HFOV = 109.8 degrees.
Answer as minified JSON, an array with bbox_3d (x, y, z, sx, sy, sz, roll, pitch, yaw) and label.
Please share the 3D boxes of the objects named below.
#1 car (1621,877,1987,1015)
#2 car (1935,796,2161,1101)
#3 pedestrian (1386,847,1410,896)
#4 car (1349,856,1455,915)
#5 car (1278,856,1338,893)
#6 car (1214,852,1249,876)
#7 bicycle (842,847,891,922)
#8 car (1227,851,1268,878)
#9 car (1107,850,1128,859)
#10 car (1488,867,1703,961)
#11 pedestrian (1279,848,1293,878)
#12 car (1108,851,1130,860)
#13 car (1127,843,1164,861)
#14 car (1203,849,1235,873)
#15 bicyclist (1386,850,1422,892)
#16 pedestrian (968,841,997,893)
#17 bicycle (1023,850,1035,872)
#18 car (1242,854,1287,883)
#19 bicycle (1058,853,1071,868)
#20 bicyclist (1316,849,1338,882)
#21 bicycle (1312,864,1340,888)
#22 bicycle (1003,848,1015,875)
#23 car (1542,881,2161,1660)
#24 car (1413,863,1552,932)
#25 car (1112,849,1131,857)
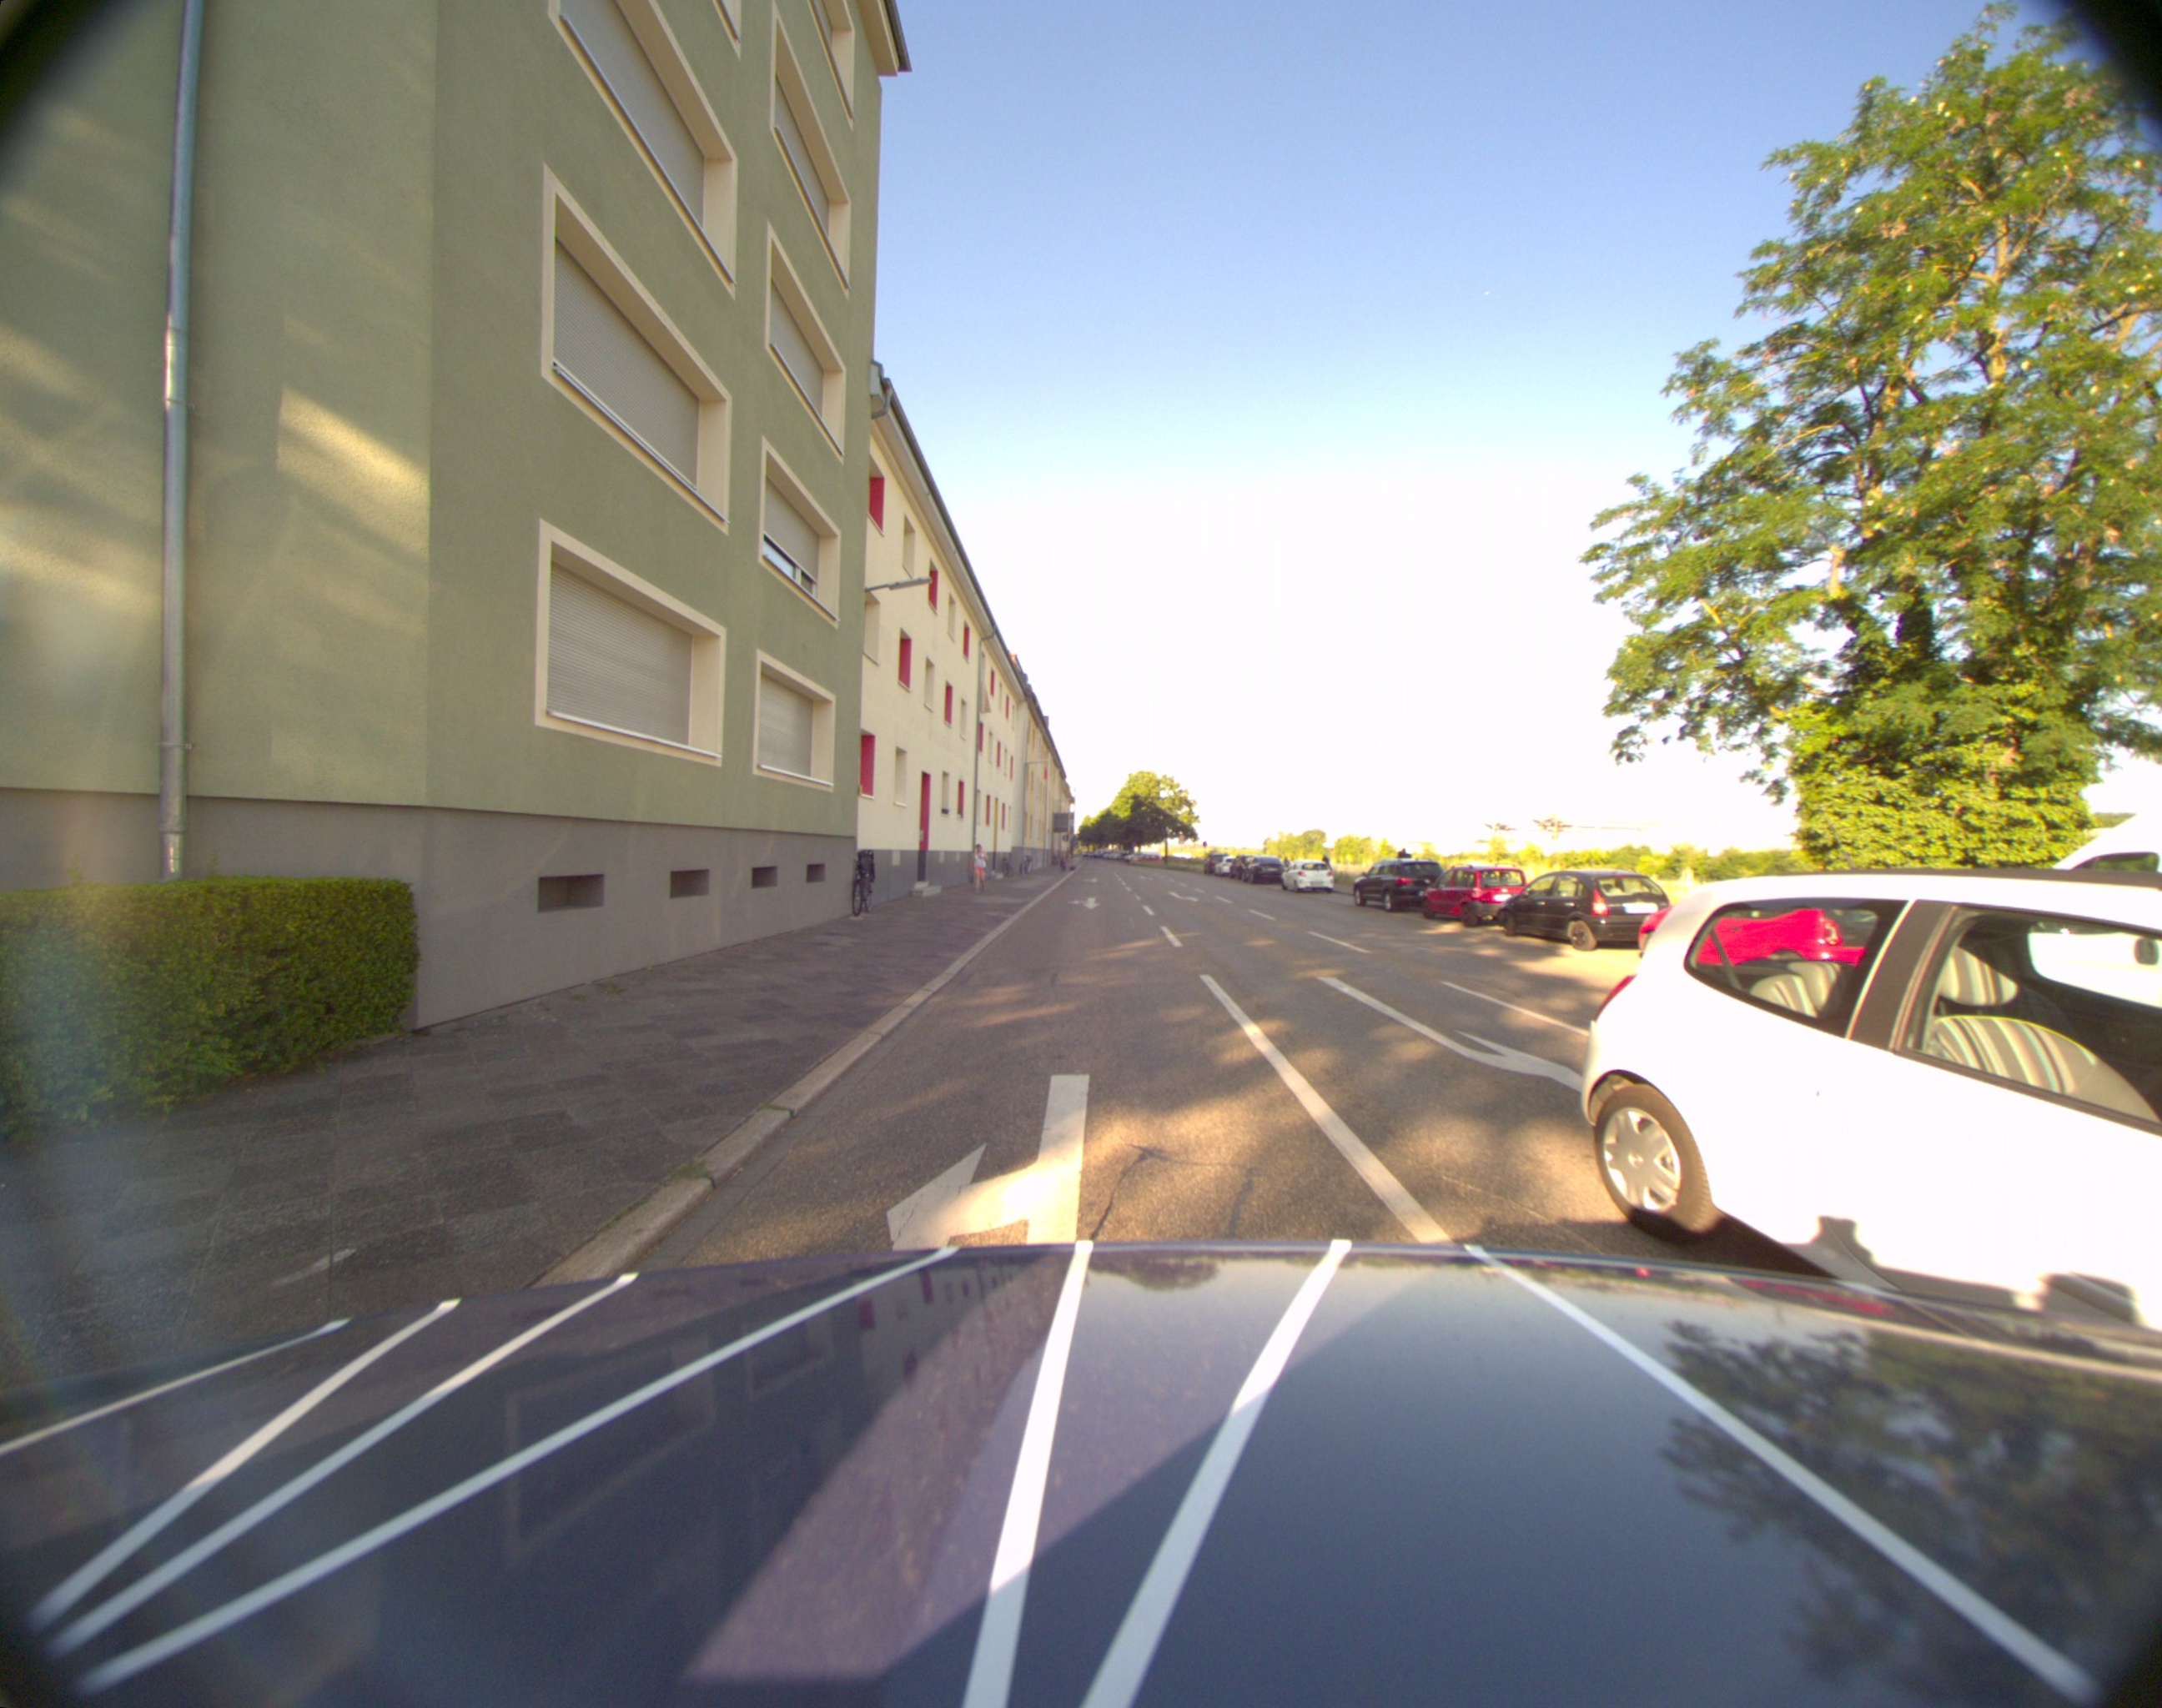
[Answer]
[{"bbox_3d":[10.068,1.173,11.051,1.745,1.478,3.694,2,1,0],"label":"car"},{"bbox_3d":[9.688,0.743,4.828,2.235,2.422,5.559,-1,1,-1],"label":"car"},{"bbox_3d":[13.124,0.725,31.457,0.615,2.002,0.730,2,1,-1],"label":"pedestrian"},{"bbox_3d":[10.142,0.943,24.357,1.664,1.649,4.005,2,1,0],"label":"car"},{"bbox_3d":[10.411,0.914,35.078,1.706,1.517,3.583,2,1,1],"label":"car"},{"bbox_3d":[10.854,0.699,55.105,1.823,1.565,4.220,2,1,2],"label":"car"},{"bbox_3d":[-4.309,0.572,15.379,0.517,1.404,1.873,2,1,-3],"label":"bicycle"},{"bbox_3d":[10.848,0.674,49.712,1.823,1.628,4.220,2,1,2],"label":"car"},{"bbox_3d":[7.418,0.182,155.325,3.997,1.708,2.000,2,1,-1],"label":"car"},{"bbox_3d":[10.170,1.099,15.420,1.745,1.521,3.816,2,1,0],"label":"car"},{"bbox_3d":[13.902,0.586,51.595,0.706,2.002,0.710,2,1,2],"label":"pedestrian"},{"bbox_3d":[7.486,0.241,149.742,3.997,1.708,2.000,2,1,-1],"label":"car"},{"bbox_3d":[9.520,-0.308,112.251,5.322,2.398,2.266,-2,1,0],"label":"car"},{"bbox_3d":[11.003,0.515,60.989,1.890,1.765,4.220,2,1,2],"label":"car"},{"bbox_3d":[12.553,0.655,29.544,0.866,1.587,1.146,2,1,0],"label":"bicyclist"},{"bbox_3d":[-3.318,0.439,25.649,0.787,1.697,0.950,3,1,1],"label":"pedestrian"},{"bbox_3d":[-3.163,0.427,46.315,0.517,1.318,2.210,2,1,2],"label":"bicycle"},{"bbox_3d":[10.571,0.805,44.012,1.823,1.517,4.291,2,0,5],"label":"car"},{"bbox_3d":[-1.248,0.485,56.850,0.651,1.091,2.201,1,1,-8],"label":"bicycle"},{"bbox_3d":[12.441,0.573,38.464,0.768,1.587,1.146,2,1,2],"label":"bicyclist"},{"bbox_3d":[12.411,1.107,38.560,0.748,1.084,2.163,2,1,3],"label":"bicycle"},{"bbox_3d":[-3.932,0.377,41.383,0.517,1.404,1.873,2,1,-3],"label":"bicycle"},{"bbox_3d":[3.014,0.891,1.618,1.705,1.460,3.775,2,1,-1],"label":"car"},{"bbox_3d":[10.263,1.057,19.737,1.664,1.521,3.579,2,1,0],"label":"car"},{"bbox_3d":[9.193,-0.235,173.173,3.997,1.708,2.000,2,1,-1],"label":"car"}]
